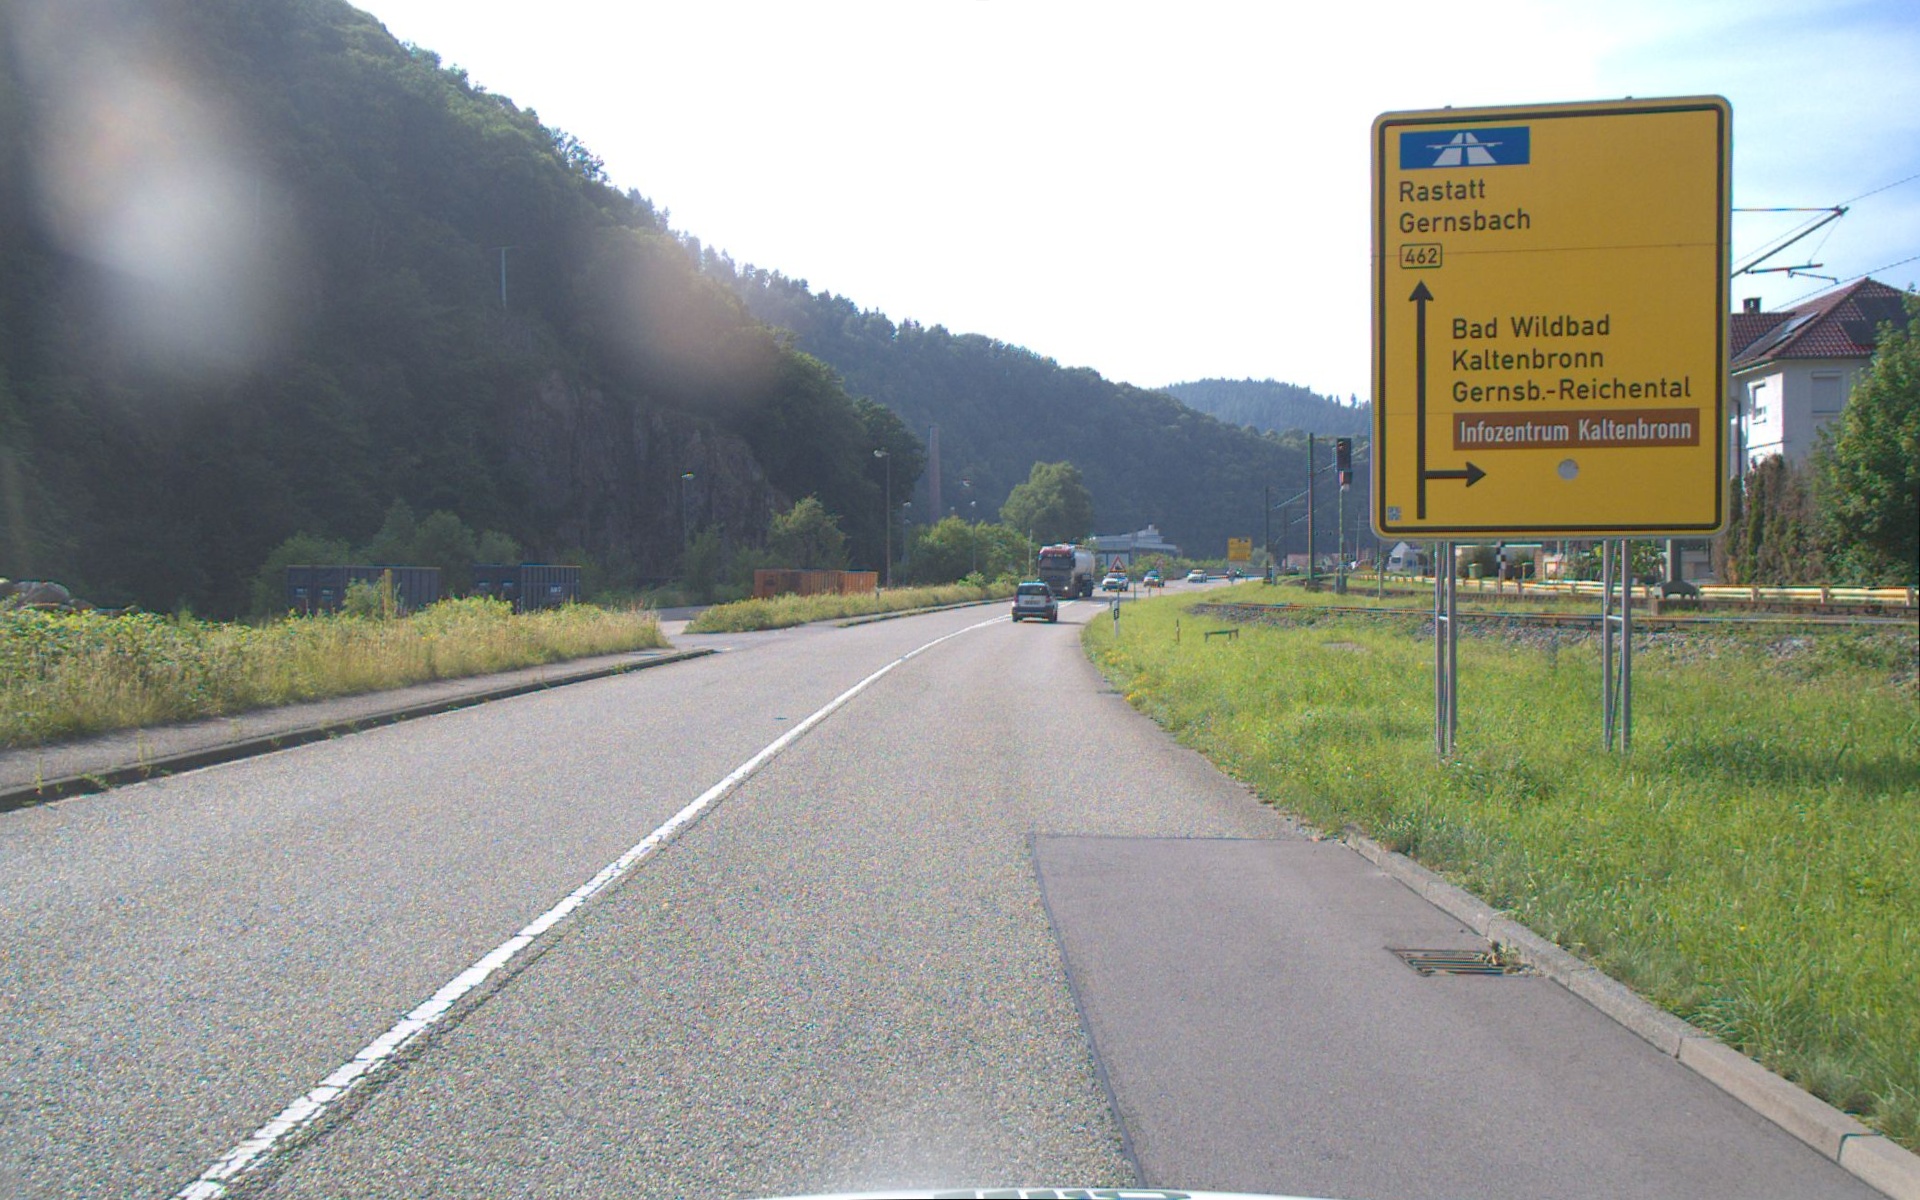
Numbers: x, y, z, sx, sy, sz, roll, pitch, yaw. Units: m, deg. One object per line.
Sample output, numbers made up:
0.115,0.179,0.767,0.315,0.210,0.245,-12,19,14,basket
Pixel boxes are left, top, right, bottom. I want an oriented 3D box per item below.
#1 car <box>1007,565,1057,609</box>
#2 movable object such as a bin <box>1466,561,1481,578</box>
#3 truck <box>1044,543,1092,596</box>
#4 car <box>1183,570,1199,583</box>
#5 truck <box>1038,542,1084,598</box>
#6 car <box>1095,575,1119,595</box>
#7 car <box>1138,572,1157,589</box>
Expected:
3.105,-0.554,70.859,1.952,1.753,3.992,-2,1,4,car
32.859,-1.954,105.752,0.790,1.068,0.913,1,2,11,movable object such as a bin
8.554,-2.385,129.387,2.691,3.902,14.575,1,1,8,truck
27.724,-2.817,198.335,1.740,1.371,4.515,2,2,9,car
7.528,-2.225,122.337,2.691,3.902,8.205,1,1,8,truck
13.601,-1.409,153.039,1.951,1.789,4.473,2,1,7,car
19.599,-2.040,172.464,1.687,1.653,3.800,1,2,10,car
